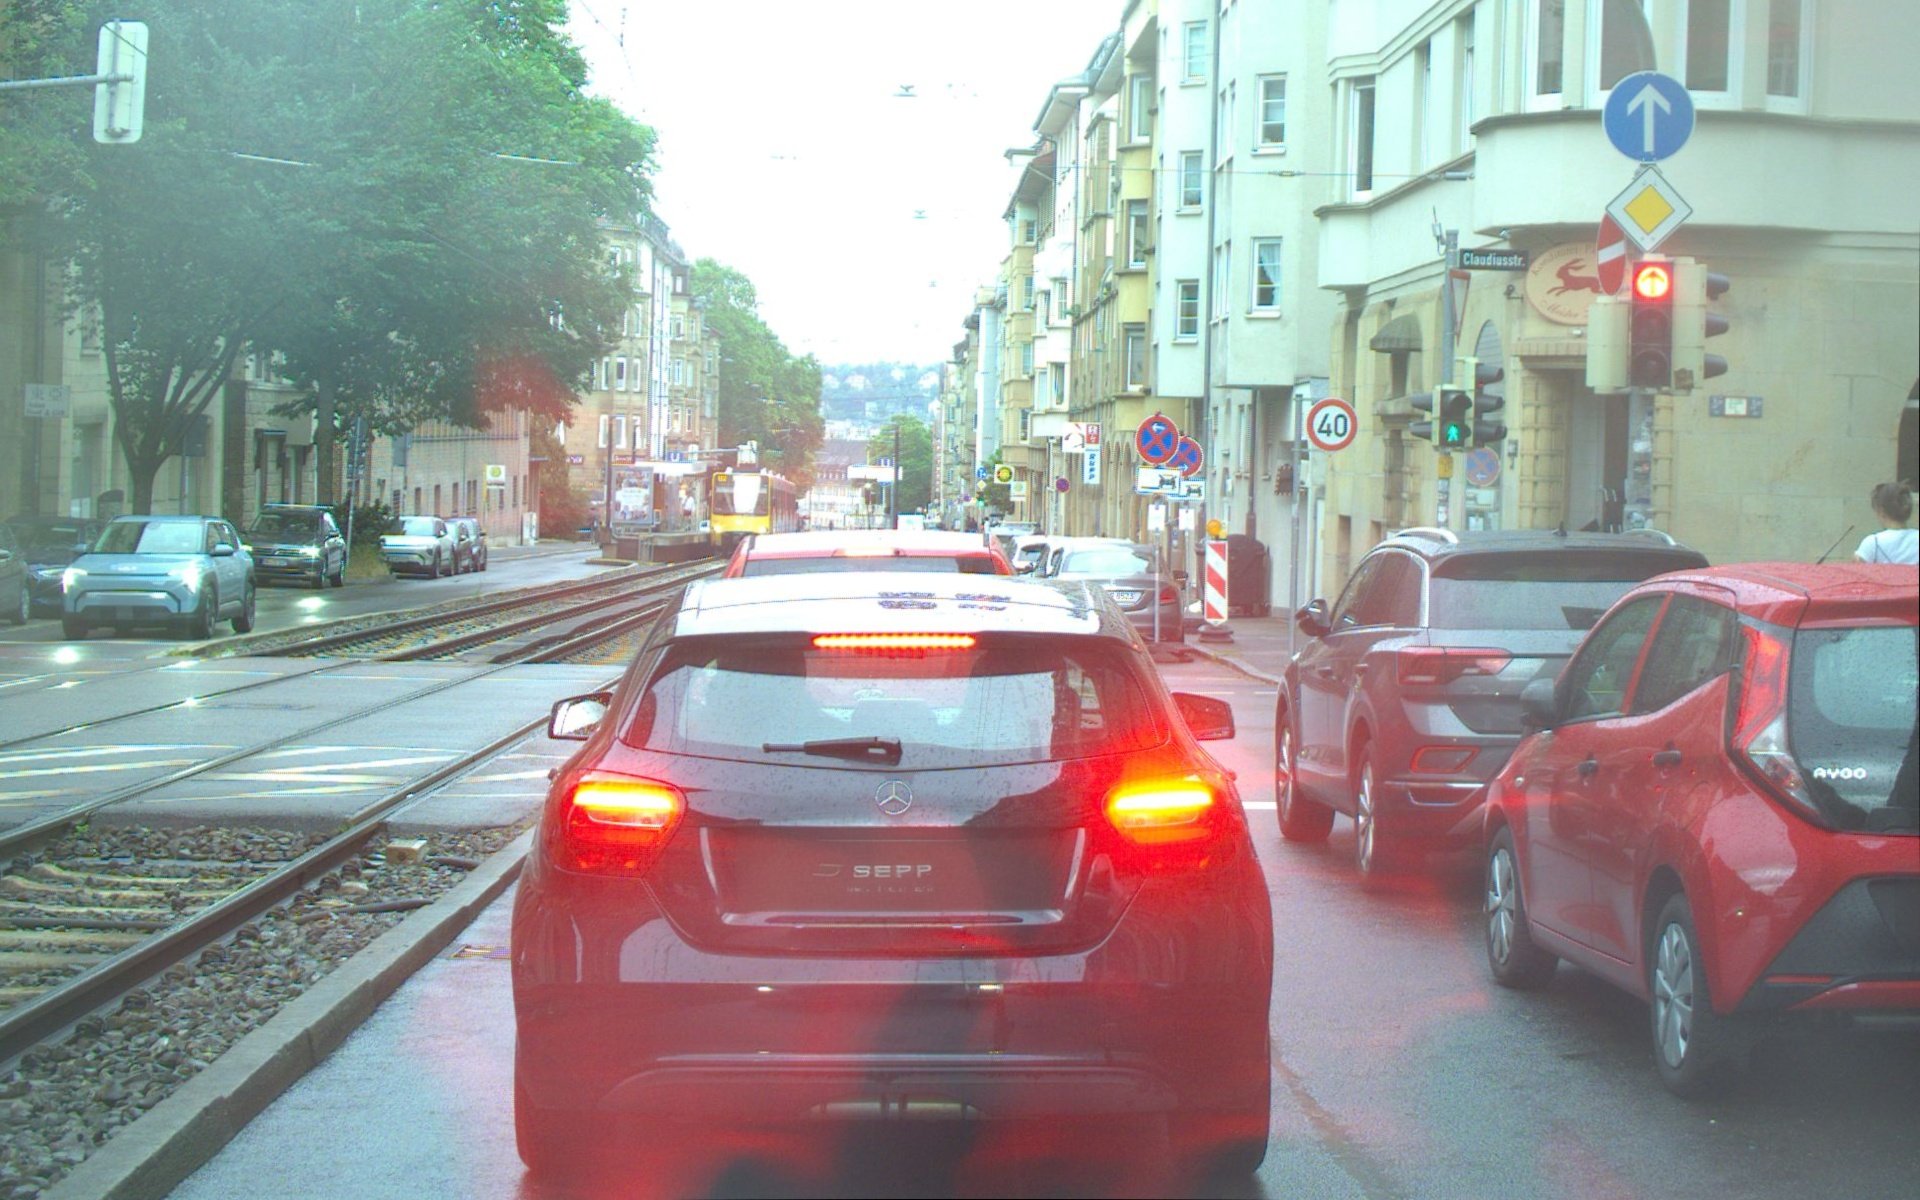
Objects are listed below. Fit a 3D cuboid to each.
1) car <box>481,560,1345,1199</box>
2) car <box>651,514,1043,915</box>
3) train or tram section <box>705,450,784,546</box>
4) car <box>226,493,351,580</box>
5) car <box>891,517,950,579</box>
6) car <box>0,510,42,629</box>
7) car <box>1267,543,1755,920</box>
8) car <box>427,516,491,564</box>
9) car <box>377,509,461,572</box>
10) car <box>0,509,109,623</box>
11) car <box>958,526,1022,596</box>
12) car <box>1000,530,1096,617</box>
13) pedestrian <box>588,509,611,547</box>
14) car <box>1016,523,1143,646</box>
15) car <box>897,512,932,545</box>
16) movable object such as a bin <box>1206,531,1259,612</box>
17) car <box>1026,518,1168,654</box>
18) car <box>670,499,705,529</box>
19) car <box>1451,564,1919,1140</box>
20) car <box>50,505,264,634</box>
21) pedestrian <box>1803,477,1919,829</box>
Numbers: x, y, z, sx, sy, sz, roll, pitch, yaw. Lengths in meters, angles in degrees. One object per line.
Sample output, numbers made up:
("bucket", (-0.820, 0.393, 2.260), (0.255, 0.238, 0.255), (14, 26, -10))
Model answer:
("car", (-0.127, 0.649, 9.429), (1.829, 1.453, 4.104), (1, 1, -1))
("car", (-0.481, 0.447, 15.816), (1.565, 1.604, 3.814), (1, 0, -1))
("train or tram section", (-9.119, -4.253, 146.208), (2.783, 3.847, 10.430), (1, 0, -1))
("car", (-13.961, -1.311, 71.674), (1.875, 1.731, 3.918), (1, 0, -1))
("car", (-1.065, -1.416, 93.846), (1.544, 1.630, 3.686), (1, 1, 0))
("car", (-13.486, -0.417, 45.665), (1.752, 1.547, 4.036), (1, 0, -4))
("car", (2.384, 0.499, 15.736), (1.544, 1.481, 3.830), (1, 1, -1))
("car", (-14.343, -1.715, 98.546), (1.448, 1.326, 3.272), (1, 0, -2))
("car", (-13.999, -1.528, 89.137), (1.589, 1.575, 3.918), (1, 0, -1))
("car", (-13.739, -0.506, 50.695), (1.716, 1.605, 3.919), (1, 0, -5))
("car", (0.630, -0.845, 73.566), (1.294, 1.437, 2.929), (1, 1, -1))
("car", (1.550, -0.488, 61.497), (1.544, 1.481, 3.548), (1, 1, -1))
("pedestrian", (-18.880, -3.771, 180.158), (1.053, 1.951, 1.043), (2, 1, 1))
("car", (1.609, -0.235, 47.088), (1.544, 1.585, 3.548), (1, 1, -1))
("car", (-2.703, -4.230, 204.073), (1.993, 1.870, 4.000), (1, 0, -1))
("movable object such as a bin", (4.708, -0.492, 59.545), (0.878, 1.384, 0.982), (1, 0, 3))
("car", (1.665, -0.198, 42.613), (1.544, 1.585, 3.548), (1, 1, -1))
("car", (-12.032, -3.789, 151.815), (1.377, 1.245, 3.298), (1, 0, -2))
("car", (2.648, 0.642, 10.498), (1.642, 1.443, 3.299), (1, 1, -3))
("car", (-10.462, -0.401, 45.051), (1.898, 1.582, 3.973), (1, 0, -1))
("pedestrian", (4.842, 0.262, 17.604), (0.741, 1.742, 1.111), (1, 0, -1))
